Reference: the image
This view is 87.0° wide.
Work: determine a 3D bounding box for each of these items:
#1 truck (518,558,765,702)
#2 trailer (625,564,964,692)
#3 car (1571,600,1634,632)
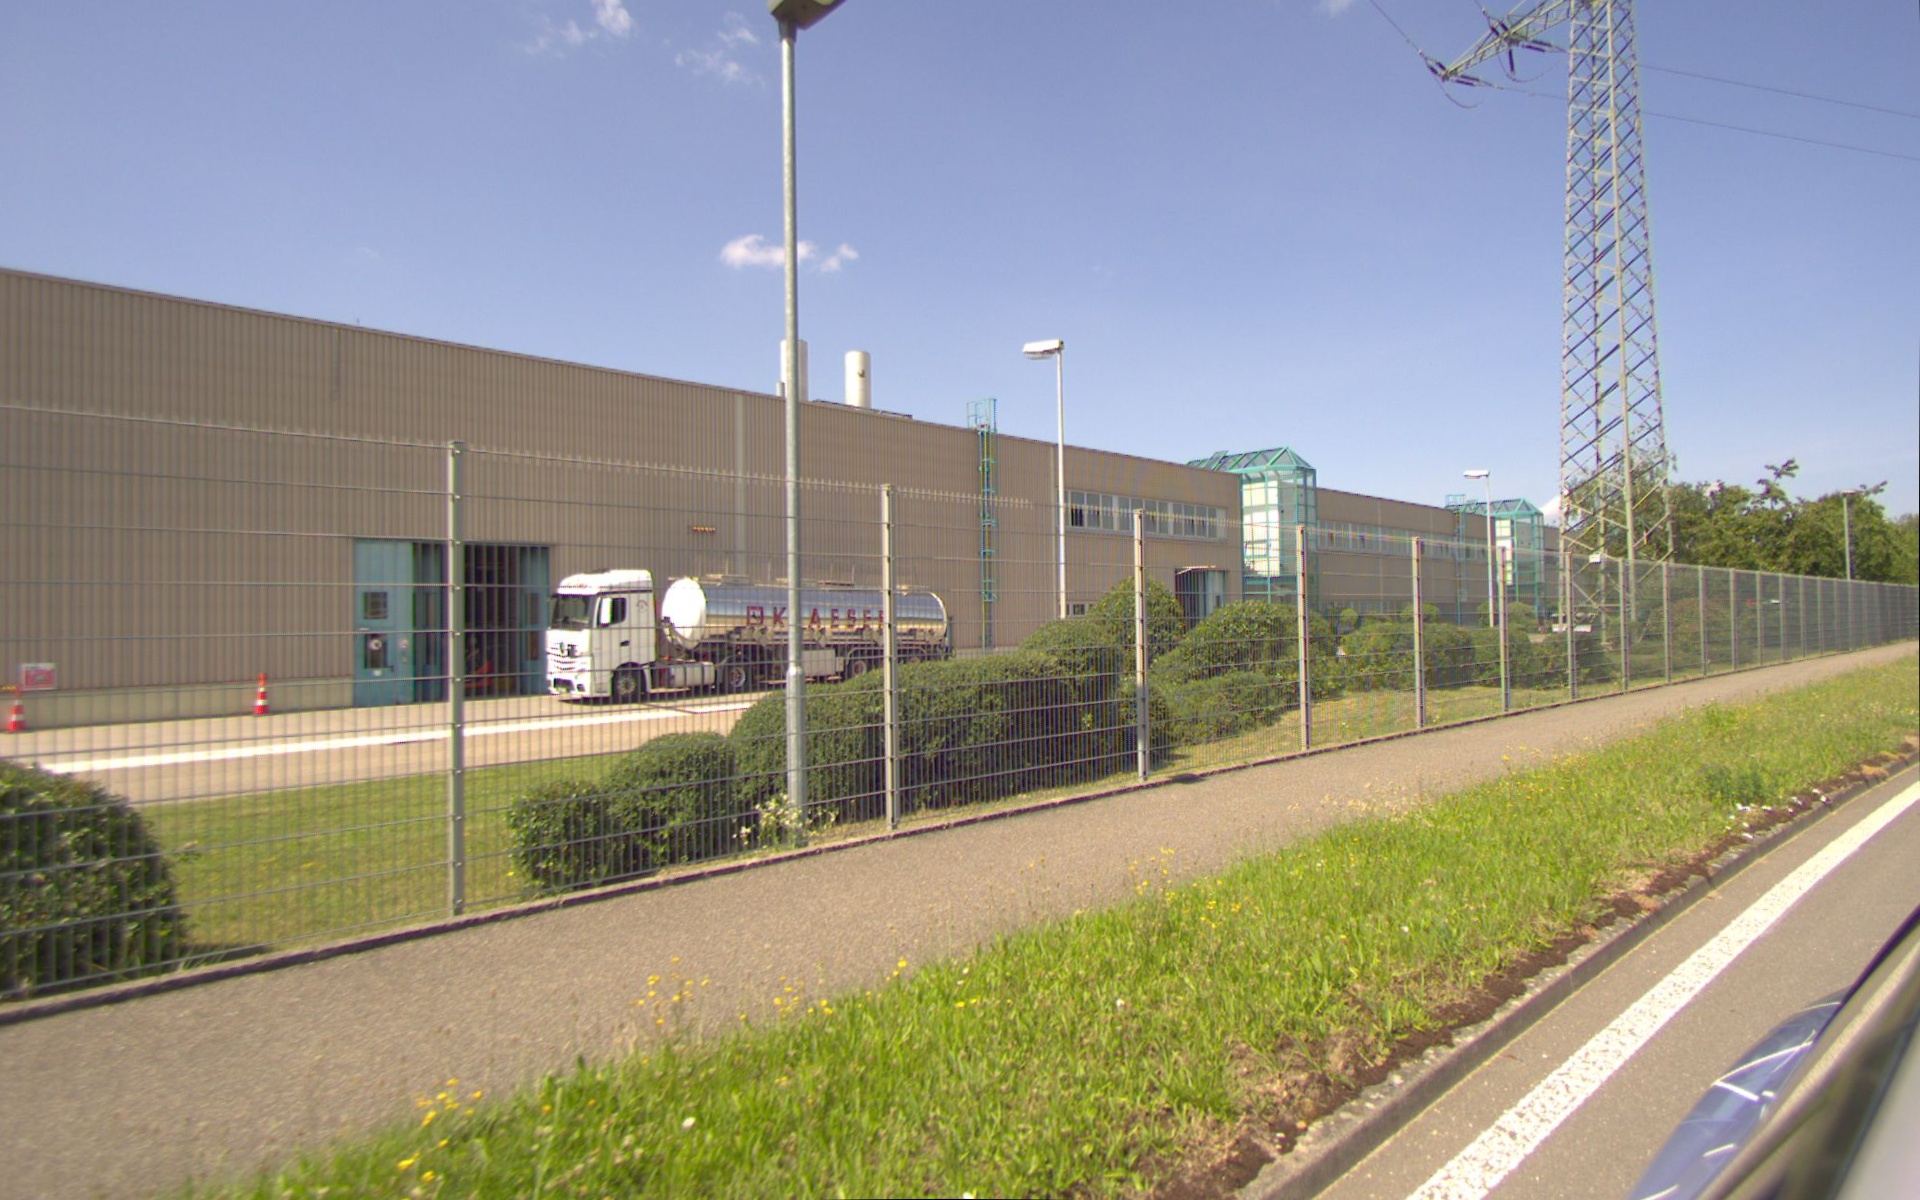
[{"bbox_3d":[-9.587,0.797,30.927,3.592,3.916,6.310,0,0,42],"label":"truck"},{"bbox_3d":[-5.308,0.828,35.552,3.591,3.783,12.043,-1,0,44],"label":"trailer"},{"bbox_3d":[38.086,0.927,59.927,2.108,1.802,5.567,-3,-2,43],"label":"car"}]
